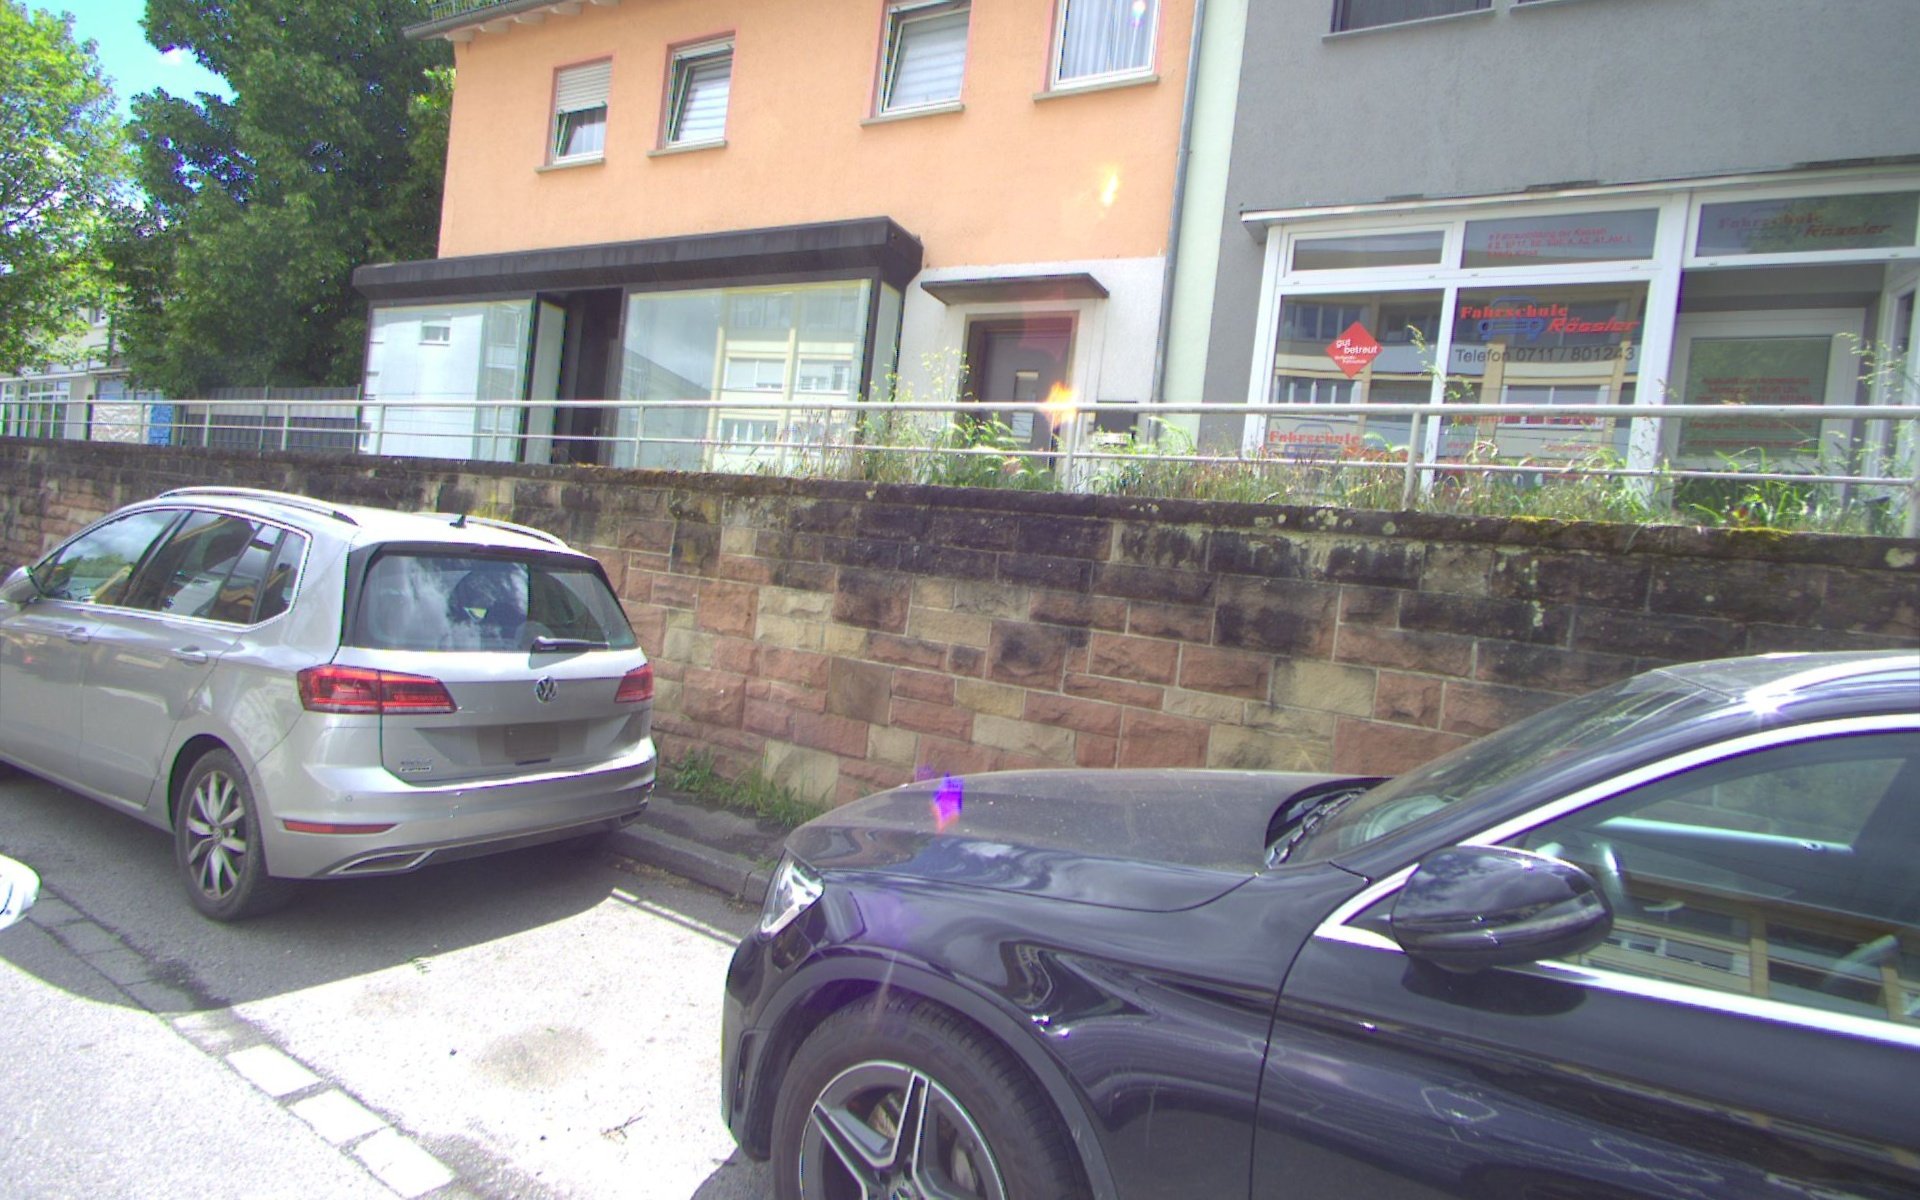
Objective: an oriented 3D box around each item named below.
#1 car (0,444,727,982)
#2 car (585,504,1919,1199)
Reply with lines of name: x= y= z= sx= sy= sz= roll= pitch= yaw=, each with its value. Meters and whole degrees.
car: x=-3.402 y=0.225 z=5.020 sx=4.177 sy=1.638 sz=1.791 roll=7 pitch=1 yaw=31
car: x=1.530 y=0.865 z=1.923 sx=4.373 sy=1.639 sz=1.791 roll=7 pitch=2 yaw=31
